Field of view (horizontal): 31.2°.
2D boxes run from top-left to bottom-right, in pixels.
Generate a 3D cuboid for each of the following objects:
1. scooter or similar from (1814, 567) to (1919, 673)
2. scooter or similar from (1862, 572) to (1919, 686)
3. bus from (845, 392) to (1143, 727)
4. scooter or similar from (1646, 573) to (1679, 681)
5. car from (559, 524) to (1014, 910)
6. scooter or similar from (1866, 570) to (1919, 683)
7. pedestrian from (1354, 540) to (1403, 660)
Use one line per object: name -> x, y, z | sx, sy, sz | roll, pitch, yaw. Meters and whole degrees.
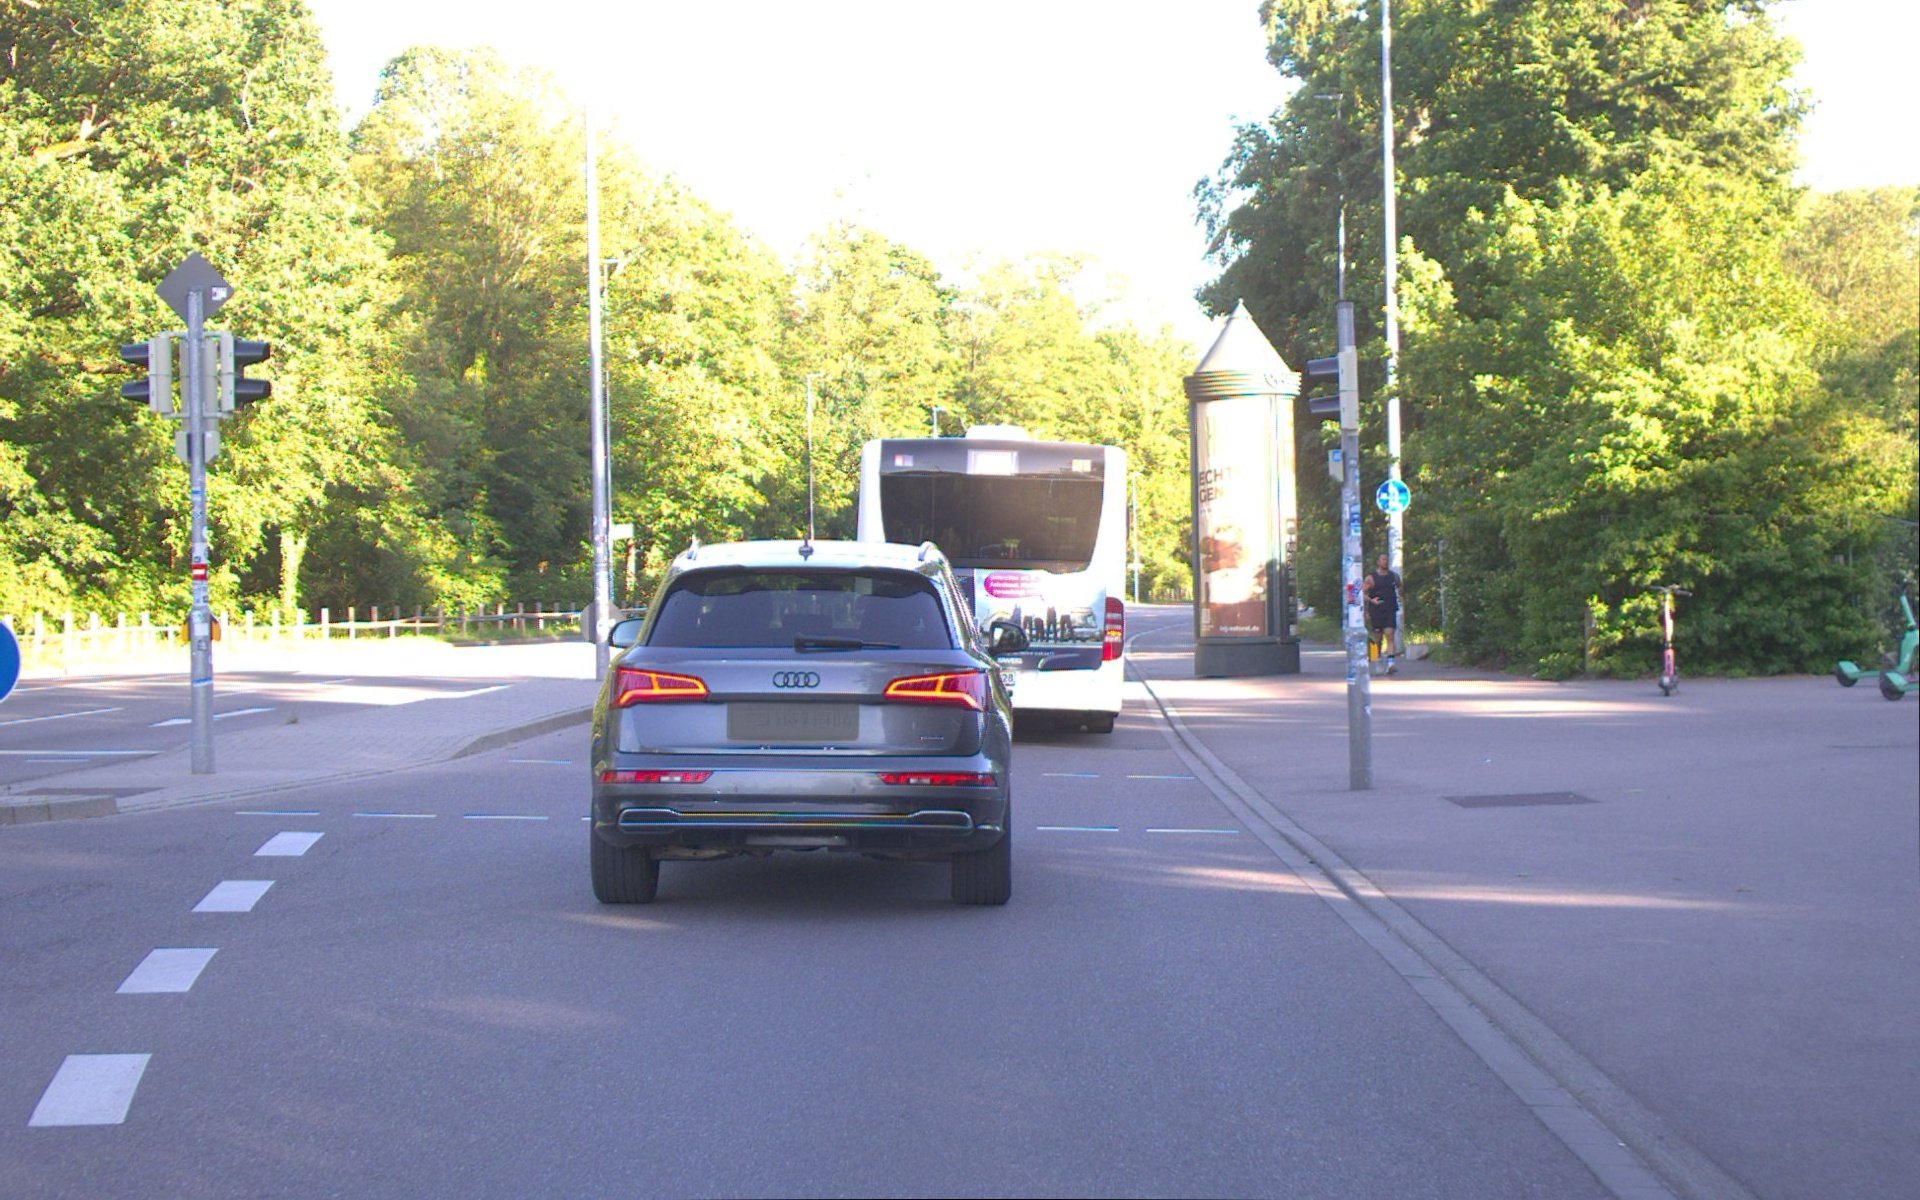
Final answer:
scooter or similar -> 10.376, 0.223, 38.621 | 1.441, 1.163, 0.393 | -2, -1, 30
scooter or similar -> 9.899, 0.281, 35.066 | 1.266, 1.143, 0.394 | -2, -1, 9
bus -> 0.306, -0.402, 37.531 | 2.689, 3.032, 12.041 | 1, 0, 0
scooter or similar -> 7.864, 0.292, 38.502 | 0.281, 1.167, 1.408 | -2, 1, 9
car -> -0.734, 0.470, 16.767 | 1.893, 1.600, 4.544 | 1, 1, 0
scooter or similar -> 10.090, 0.271, 35.703 | 1.246, 1.163, 0.393 | -2, -1, 26
pedestrian -> 5.925, -0.001, 48.653 | 0.626, 1.682, 0.882 | 1, 0, 10
